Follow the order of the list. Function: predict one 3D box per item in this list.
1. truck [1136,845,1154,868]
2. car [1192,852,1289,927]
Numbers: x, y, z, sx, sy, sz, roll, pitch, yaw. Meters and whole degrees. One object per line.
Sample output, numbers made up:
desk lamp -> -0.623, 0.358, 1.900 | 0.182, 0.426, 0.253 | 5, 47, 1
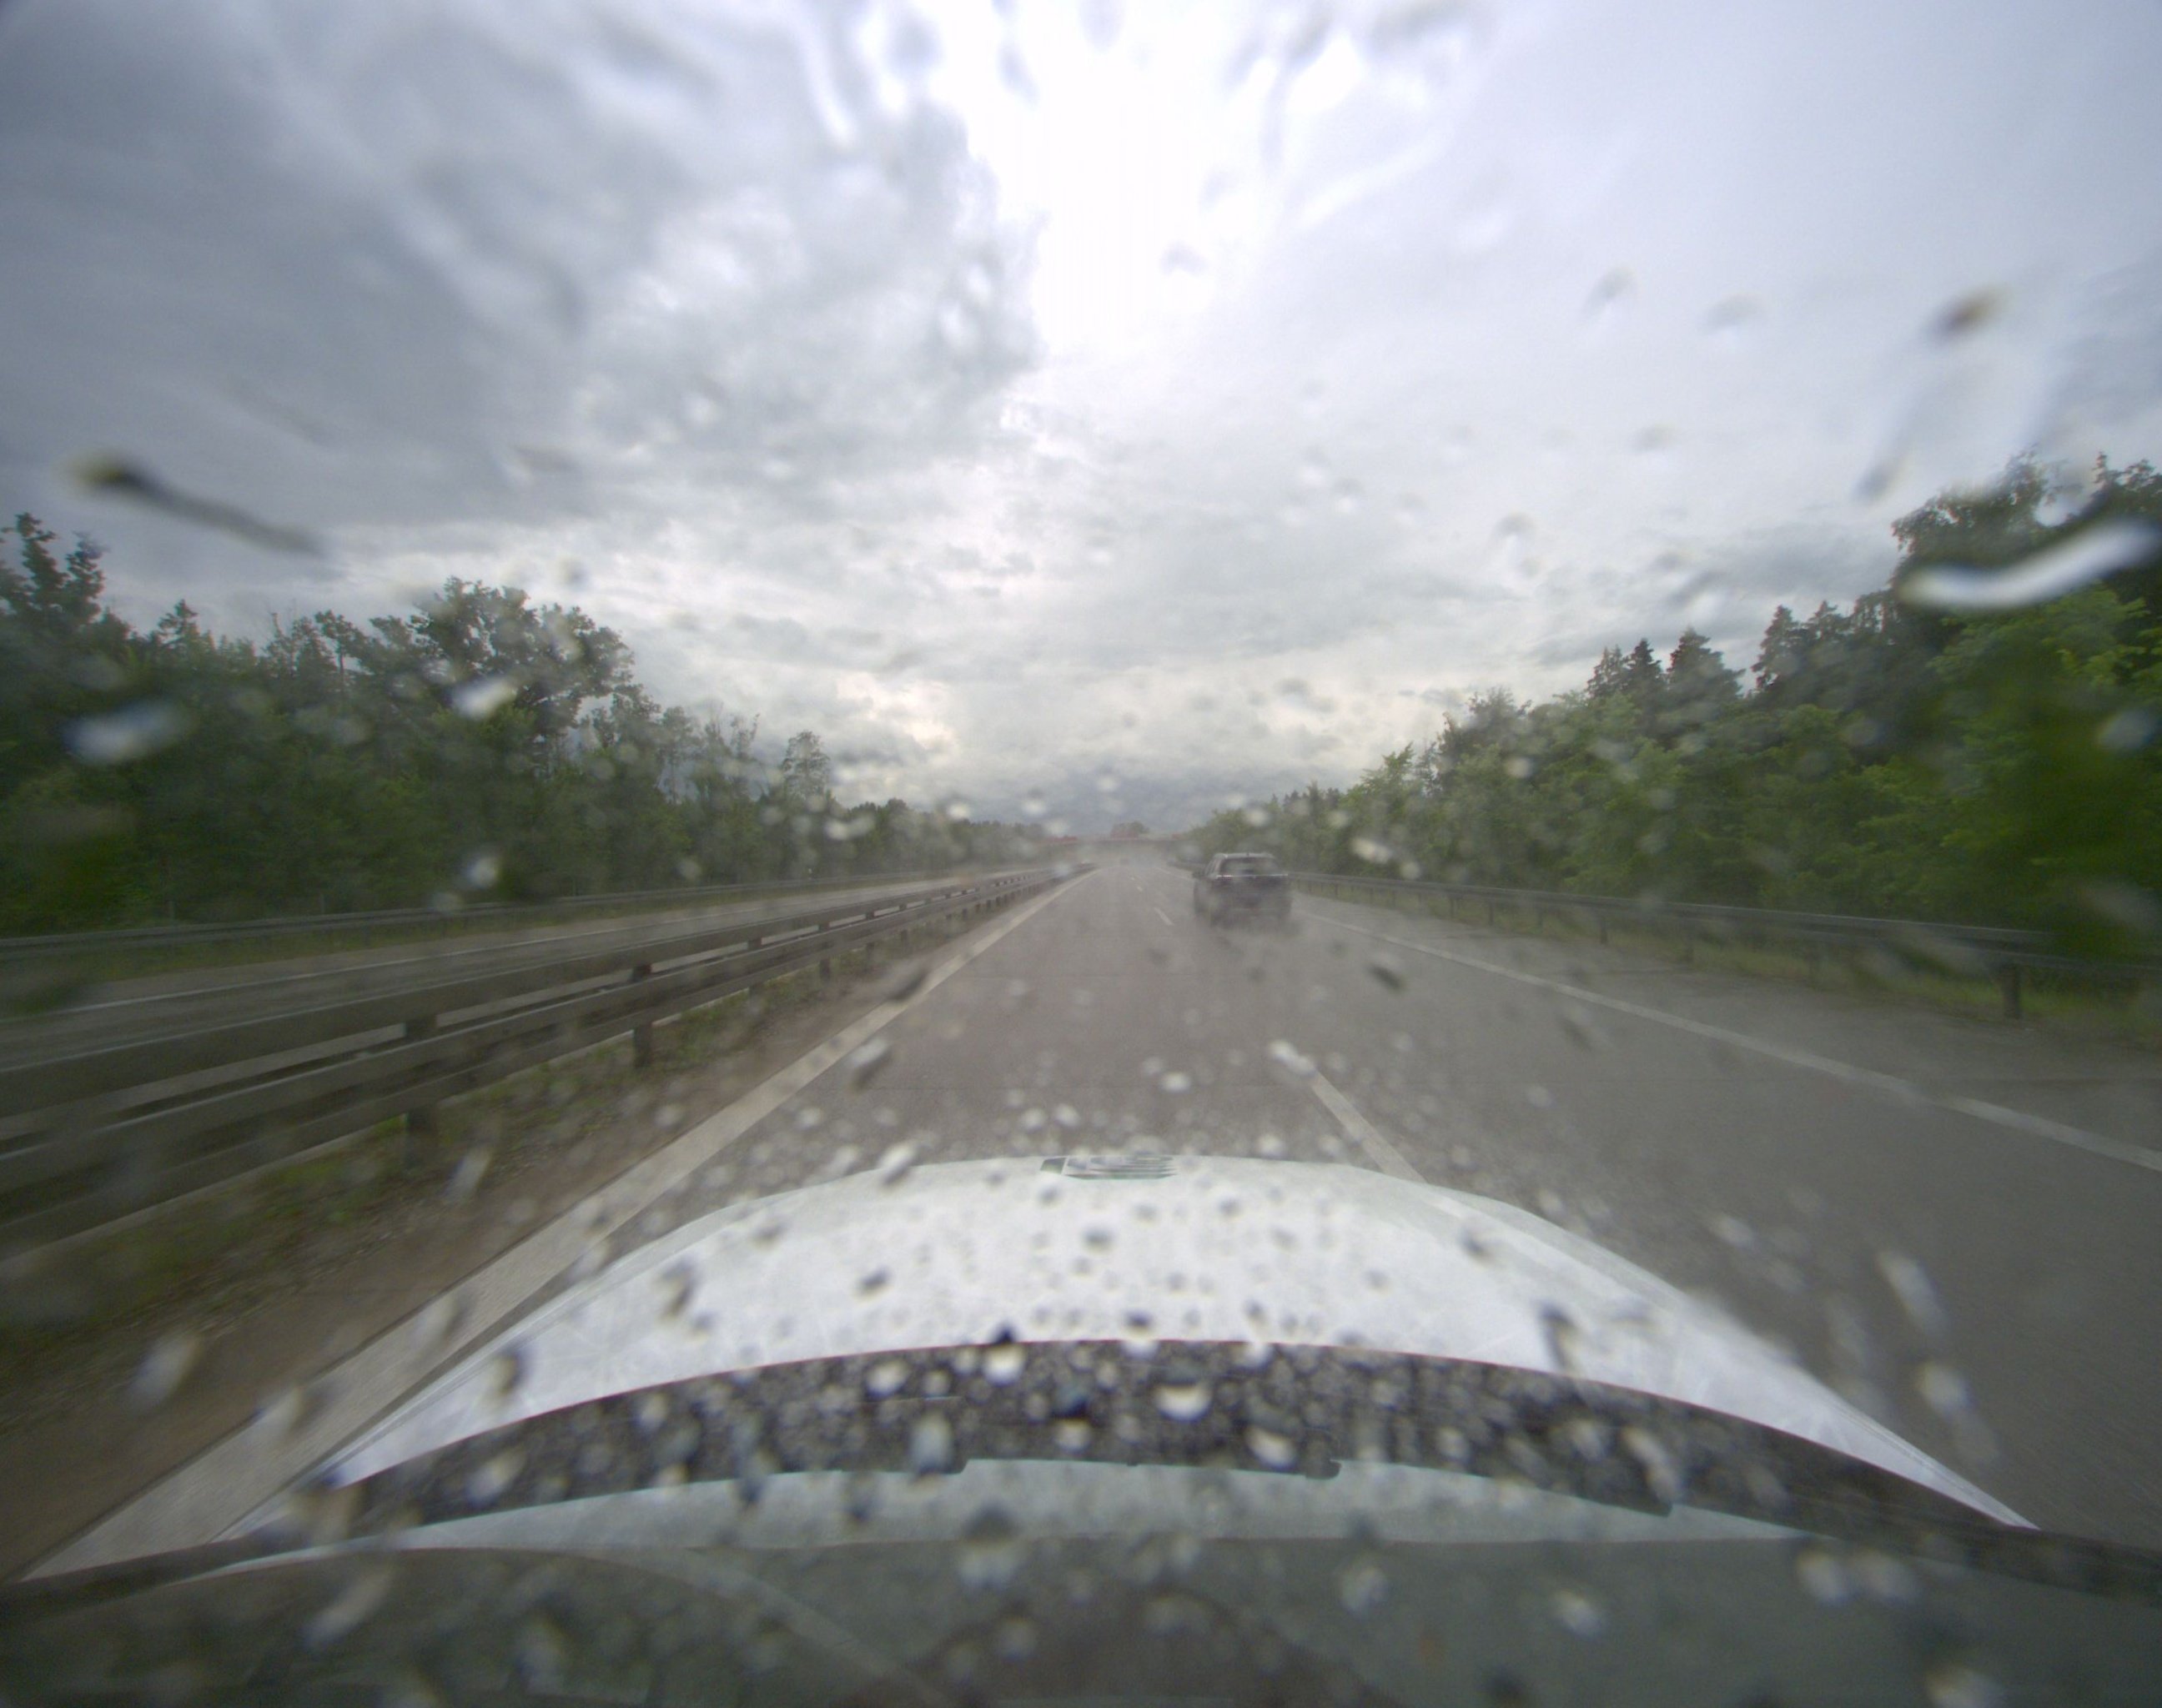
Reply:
truck -> 12.781, 0.534, 162.603 | 3.230, 4.437, 8.252 | -1, 0, 3
car -> 3.628, 0.778, 19.127 | 1.885, 1.576, 3.637 | -1, -1, 5
